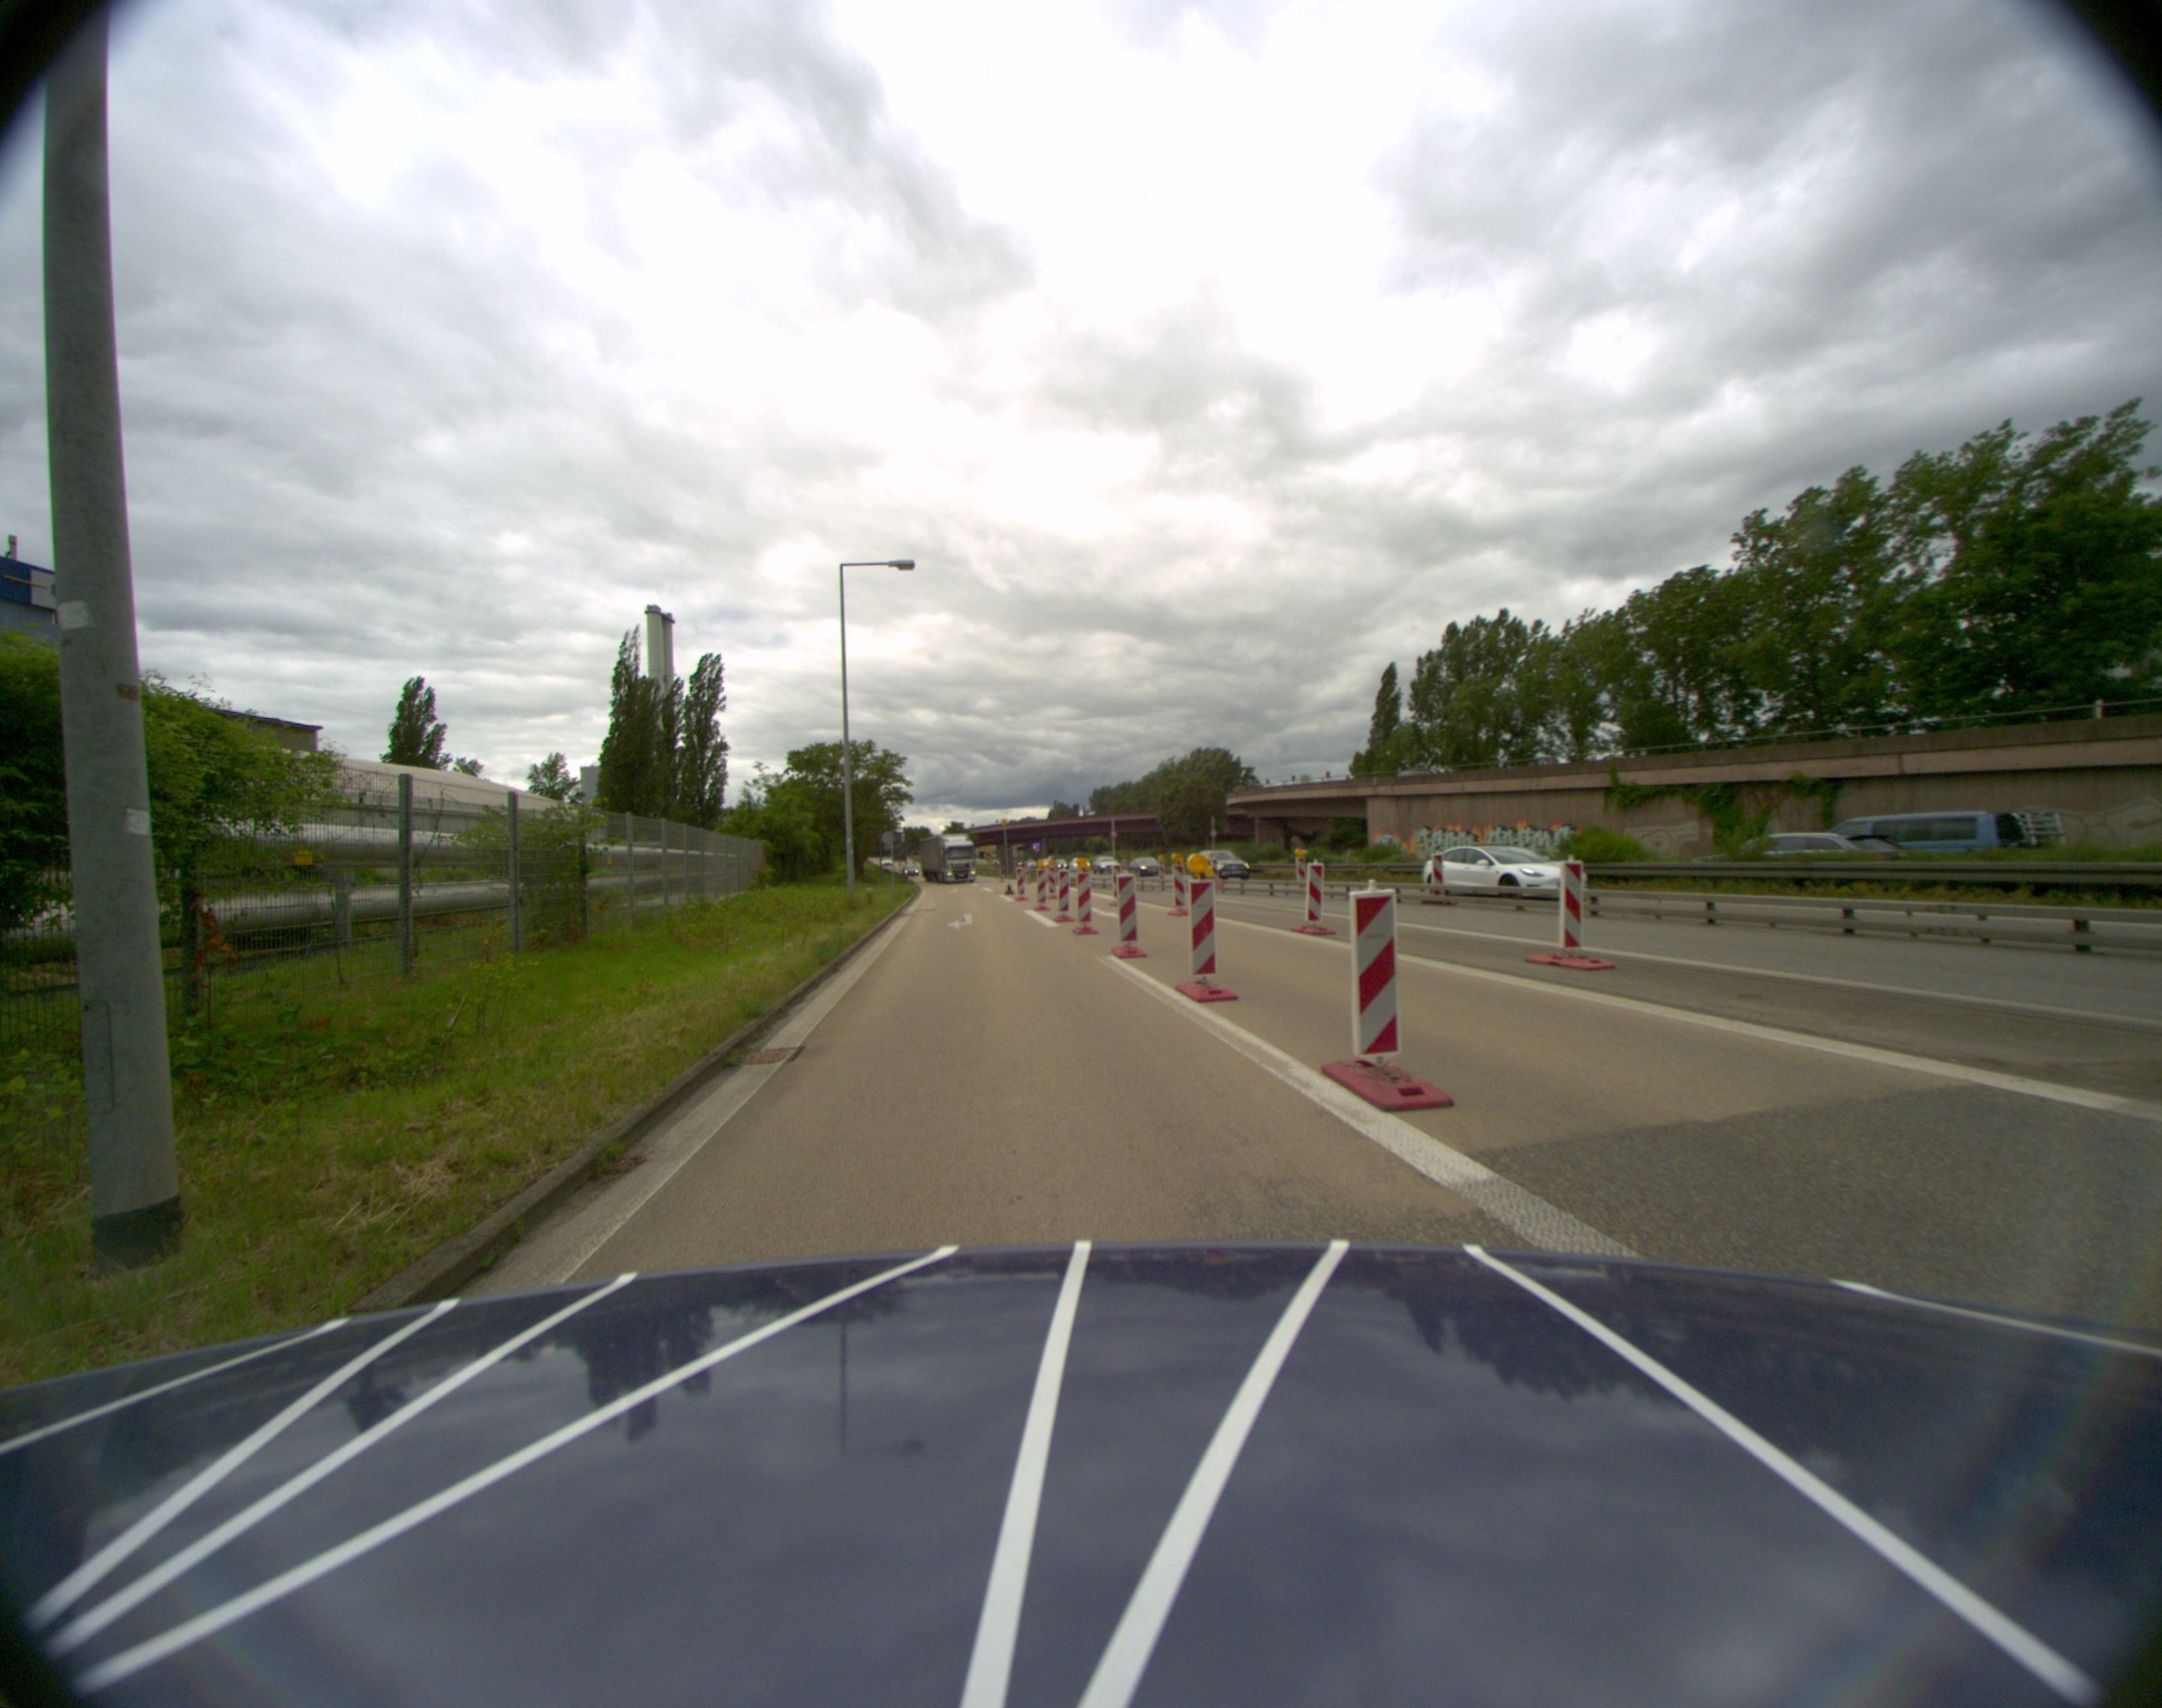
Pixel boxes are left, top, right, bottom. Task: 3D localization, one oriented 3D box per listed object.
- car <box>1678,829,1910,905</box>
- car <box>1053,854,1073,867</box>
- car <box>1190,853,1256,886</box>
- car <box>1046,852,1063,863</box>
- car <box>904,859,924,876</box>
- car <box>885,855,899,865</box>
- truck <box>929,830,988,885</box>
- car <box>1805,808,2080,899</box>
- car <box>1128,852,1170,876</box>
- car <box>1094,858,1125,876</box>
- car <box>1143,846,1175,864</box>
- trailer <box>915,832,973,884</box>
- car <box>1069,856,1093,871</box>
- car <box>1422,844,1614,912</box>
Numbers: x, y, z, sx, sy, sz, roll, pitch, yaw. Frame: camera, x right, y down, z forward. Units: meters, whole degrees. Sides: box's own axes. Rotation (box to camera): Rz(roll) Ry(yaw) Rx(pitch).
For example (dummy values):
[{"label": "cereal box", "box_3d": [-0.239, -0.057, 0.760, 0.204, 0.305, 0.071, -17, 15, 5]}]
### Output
[{"label": "car", "box_3d": [18.258, 0.309, 19.758, 2.000, 1.696, 3.997, -2, 0, -9]}, {"label": "car", "box_3d": [-2.299, 0.844, 96.417, 2.000, 1.584, 4.288, -1, 0, -9]}, {"label": "car", "box_3d": [7.495, 0.776, 40.429, 1.981, 1.502, 4.288, -4, 1, -10]}, {"label": "car", "box_3d": [-3.824, 0.458, 109.073, 2.000, 1.584, 4.288, -1, 0, -9]}, {"label": "car", "box_3d": [-20.798, 1.674, 94.719, 2.002, 2.002, 3.994, -1, 0, -18]}, {"label": "car", "box_3d": [-33.529, 1.086, 134.712, 1.994, 1.851, 3.934, -1, 0, -20]}, {"label": "truck", "box_3d": [-10.398, 0.320, 63.634, 3.167, 4.107, 8.128, -4, 1, -20]}, {"label": "car", "box_3d": [21.886, -0.005, 19.616, 2.000, 2.002, 4.283, -2, 0, -9]}, {"label": "car", "box_3d": [4.967, 0.705, 56.083, 1.938, 1.693, 3.995, -1, 0, -13]}, {"label": "car", "box_3d": [2.533, 1.195, 68.380, 1.804, 1.502, 3.996, -1, -1, -13]}, {"label": "car", "box_3d": [7.545, 0.124, 73.958, 1.860, 1.631, 4.287, -3, 1, -10]}, {"label": "trailer", "box_3d": [-13.093, 0.434, 71.411, 3.169, 4.299, 13.243, -4, 0, -19]}, {"label": "car", "box_3d": [-0.040, 1.068, 84.016, 2.000, 1.584, 3.996, -1, 0, -9]}, {"label": "car", "box_3d": [11.166, 0.577, 19.856, 2.000, 1.532, 4.456, -1, 0, -9]}]
